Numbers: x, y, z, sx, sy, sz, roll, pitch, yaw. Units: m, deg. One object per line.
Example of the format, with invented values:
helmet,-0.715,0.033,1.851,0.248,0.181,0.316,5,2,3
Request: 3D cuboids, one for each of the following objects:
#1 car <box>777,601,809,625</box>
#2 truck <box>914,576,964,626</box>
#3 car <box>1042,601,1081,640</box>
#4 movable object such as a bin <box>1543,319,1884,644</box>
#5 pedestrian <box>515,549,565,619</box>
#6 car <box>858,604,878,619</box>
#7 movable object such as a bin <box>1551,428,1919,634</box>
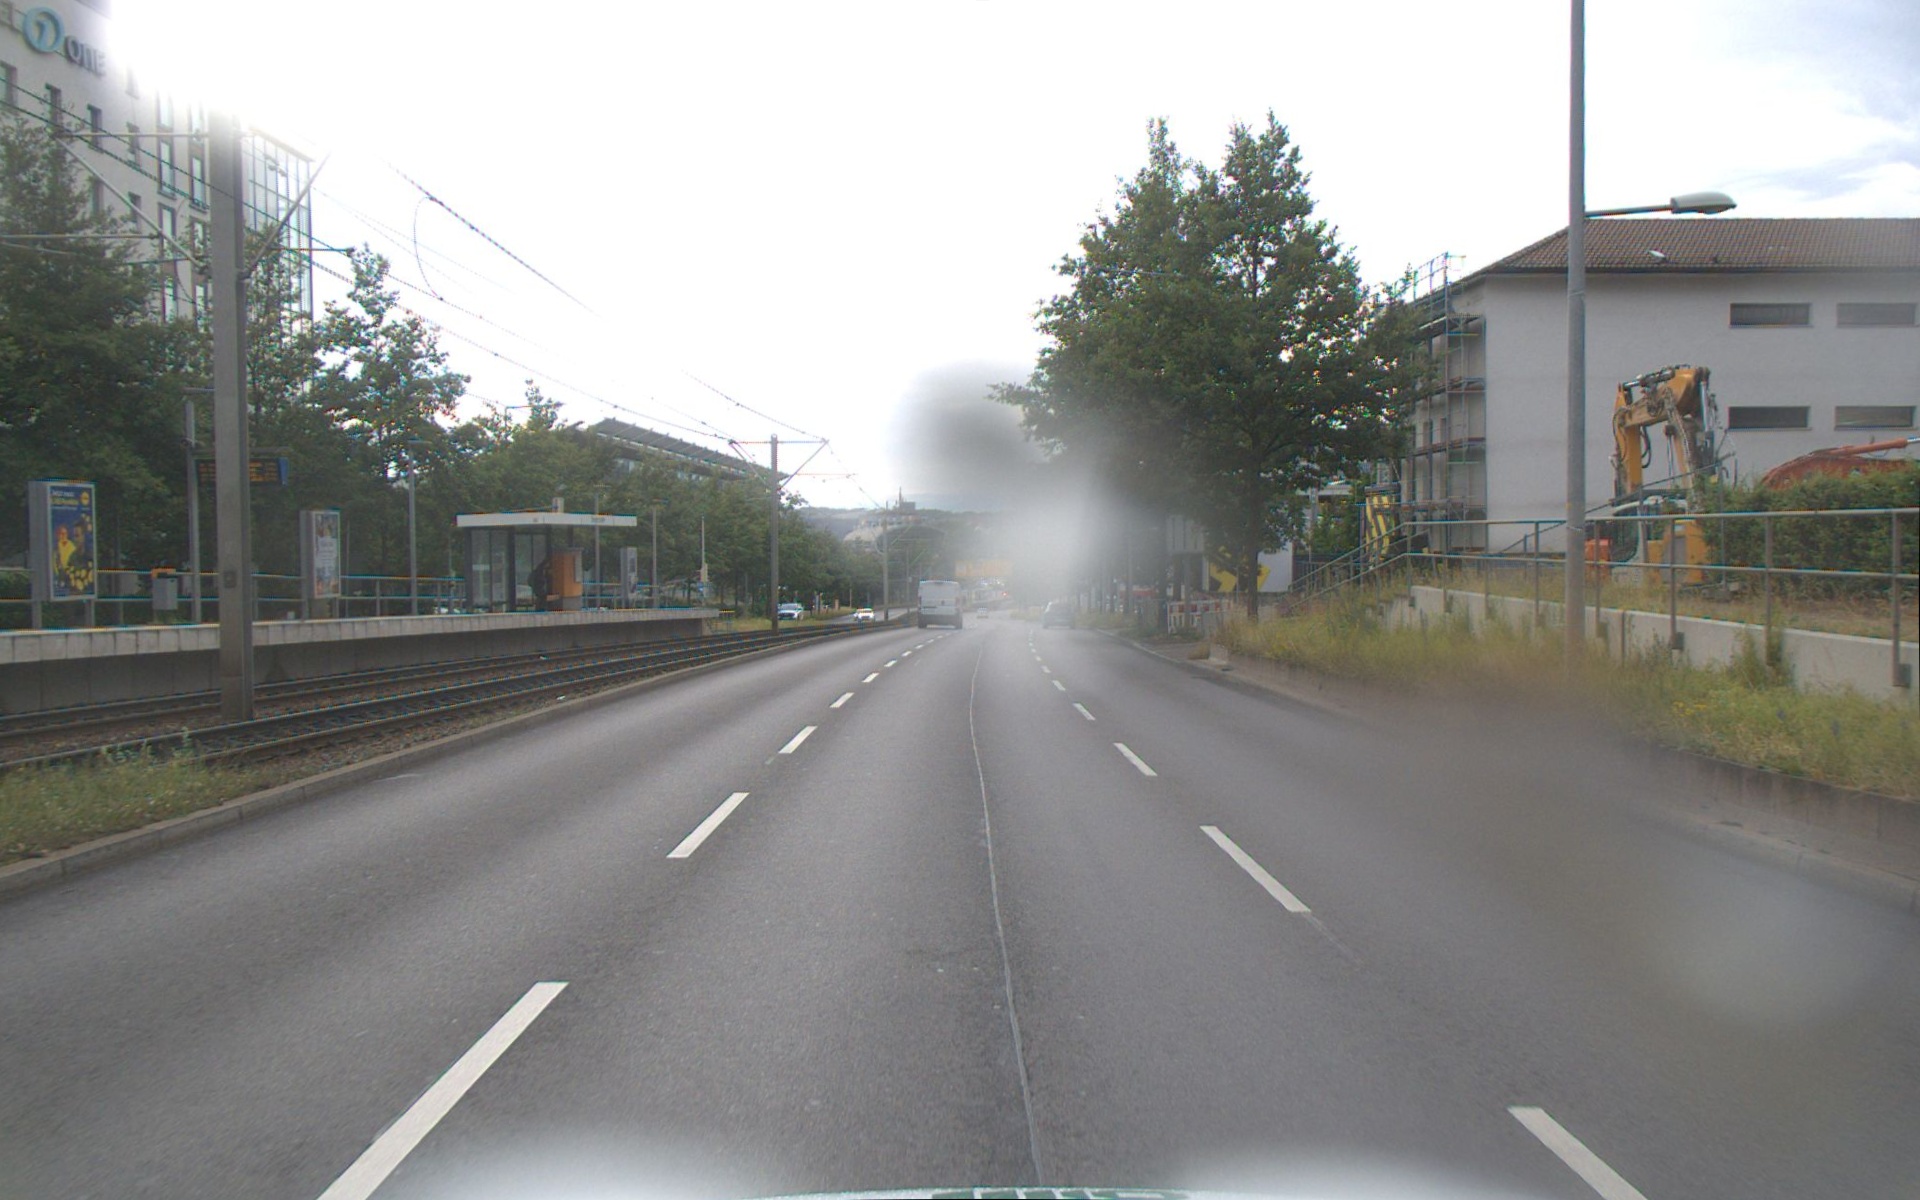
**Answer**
car,-13.743,1.076,136.547,1.952,1.879,5.003,-1,0,2
truck,-0.973,0.066,80.895,2.312,2.301,5.305,1,-1,0
car,5.480,1.118,89.527,1.952,2.049,3.935,1,-1,2
movable object such as a bin,15.133,-2.097,34.214,3.222,5.784,8.765,1,-1,2
pedestrian,-12.718,-0.469,50.113,1.103,2.049,1.271,1,-1,2
car,-10.103,1.262,182.106,1.799,1.469,4.430,-2,0,2
movable object such as a bin,22.983,-1.843,45.710,11.894,5.354,3.788,-1,-1,-1
